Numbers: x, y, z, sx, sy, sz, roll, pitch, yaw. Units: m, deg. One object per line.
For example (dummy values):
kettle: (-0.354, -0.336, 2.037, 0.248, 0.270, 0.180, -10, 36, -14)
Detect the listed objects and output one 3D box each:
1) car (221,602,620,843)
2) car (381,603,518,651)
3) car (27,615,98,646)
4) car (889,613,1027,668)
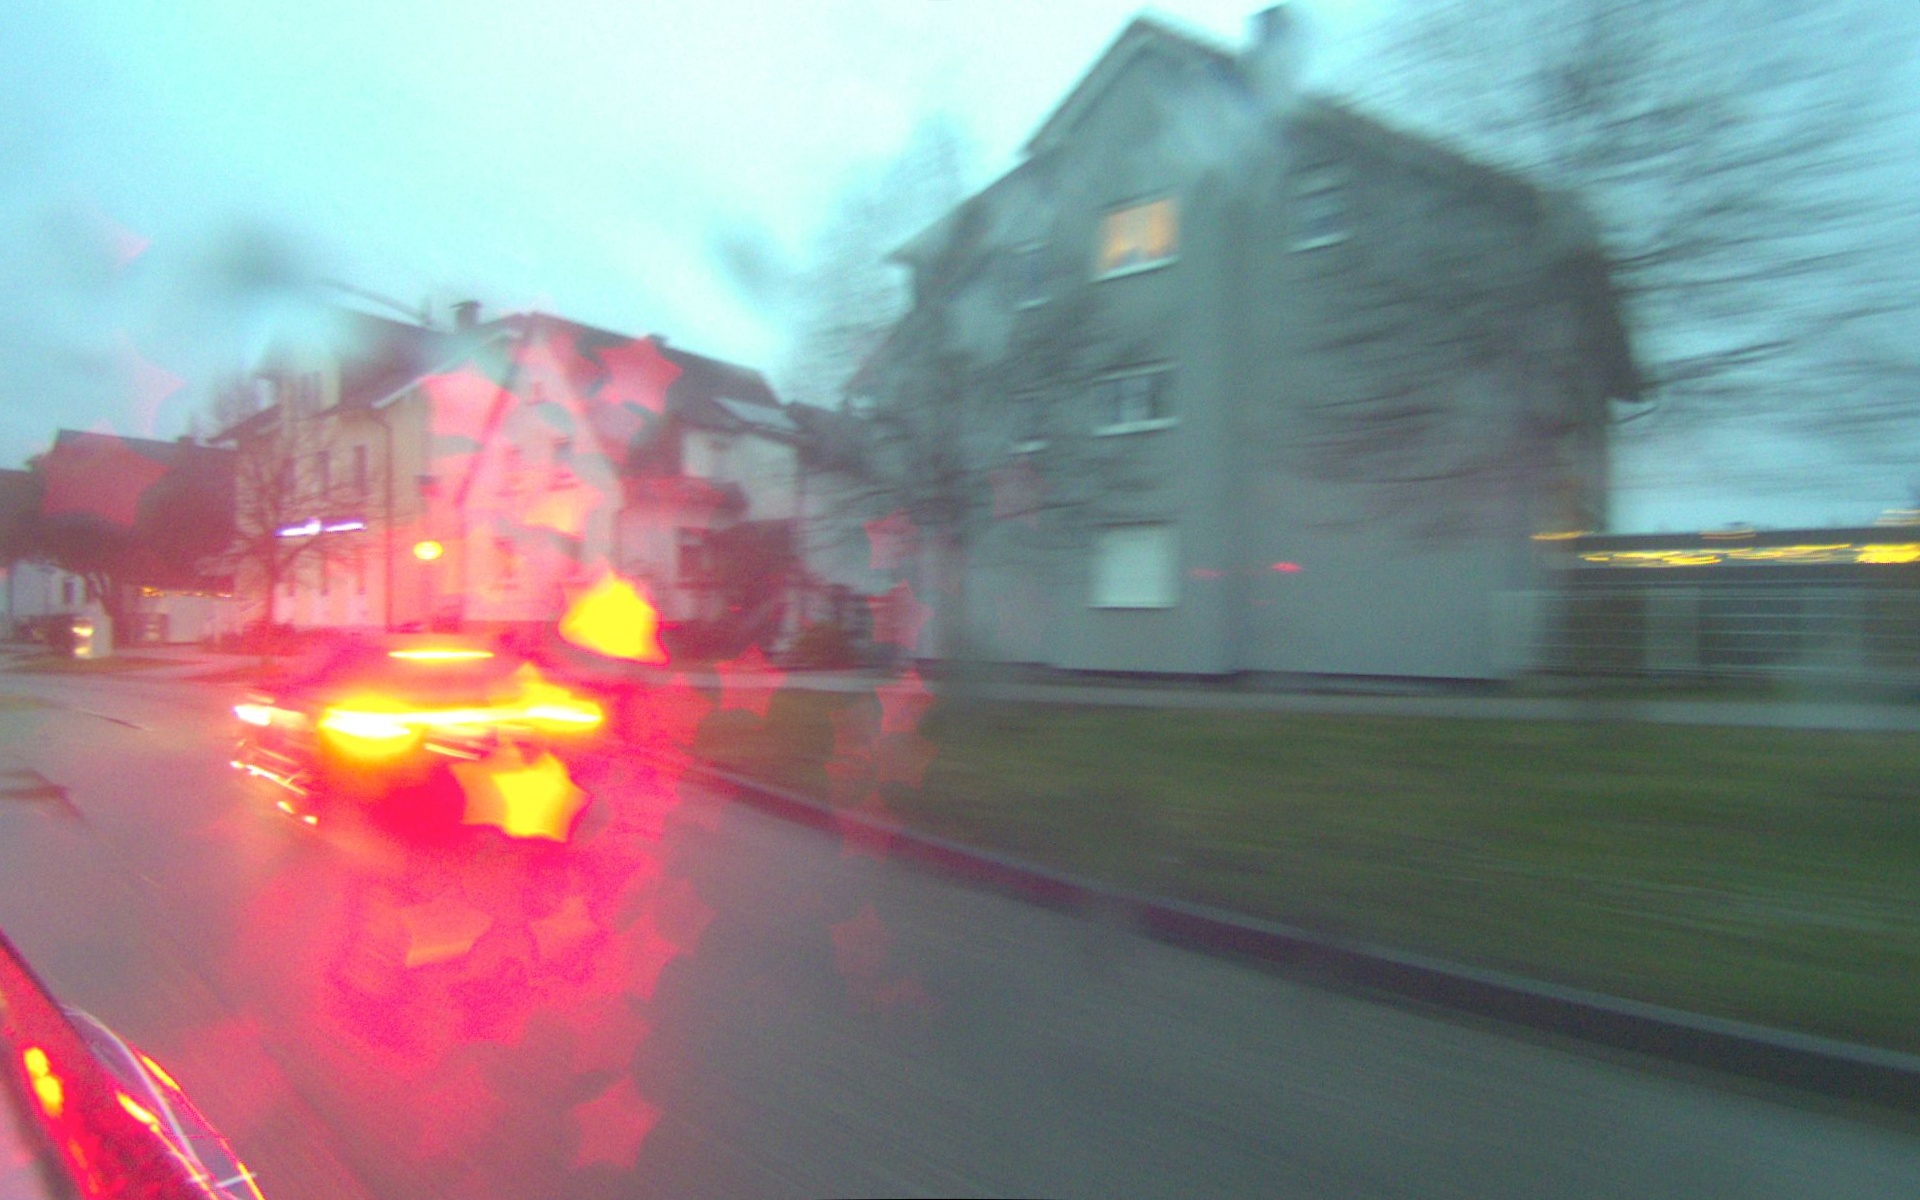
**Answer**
car: (-4.804, 0.821, 8.637, 1.884, 1.499, 4.572, 2, -2, -43)
car: (-17.990, 0.928, 35.816, 1.916, 1.612, 3.955, -1, -1, 33)
car: (-43.774, 1.477, 49.341, 3.992, 1.376, 1.766, 0, 0, 36)
car: (-0.107, 1.198, 31.310, 3.996, 1.537, 1.889, 0, 1, 40)
